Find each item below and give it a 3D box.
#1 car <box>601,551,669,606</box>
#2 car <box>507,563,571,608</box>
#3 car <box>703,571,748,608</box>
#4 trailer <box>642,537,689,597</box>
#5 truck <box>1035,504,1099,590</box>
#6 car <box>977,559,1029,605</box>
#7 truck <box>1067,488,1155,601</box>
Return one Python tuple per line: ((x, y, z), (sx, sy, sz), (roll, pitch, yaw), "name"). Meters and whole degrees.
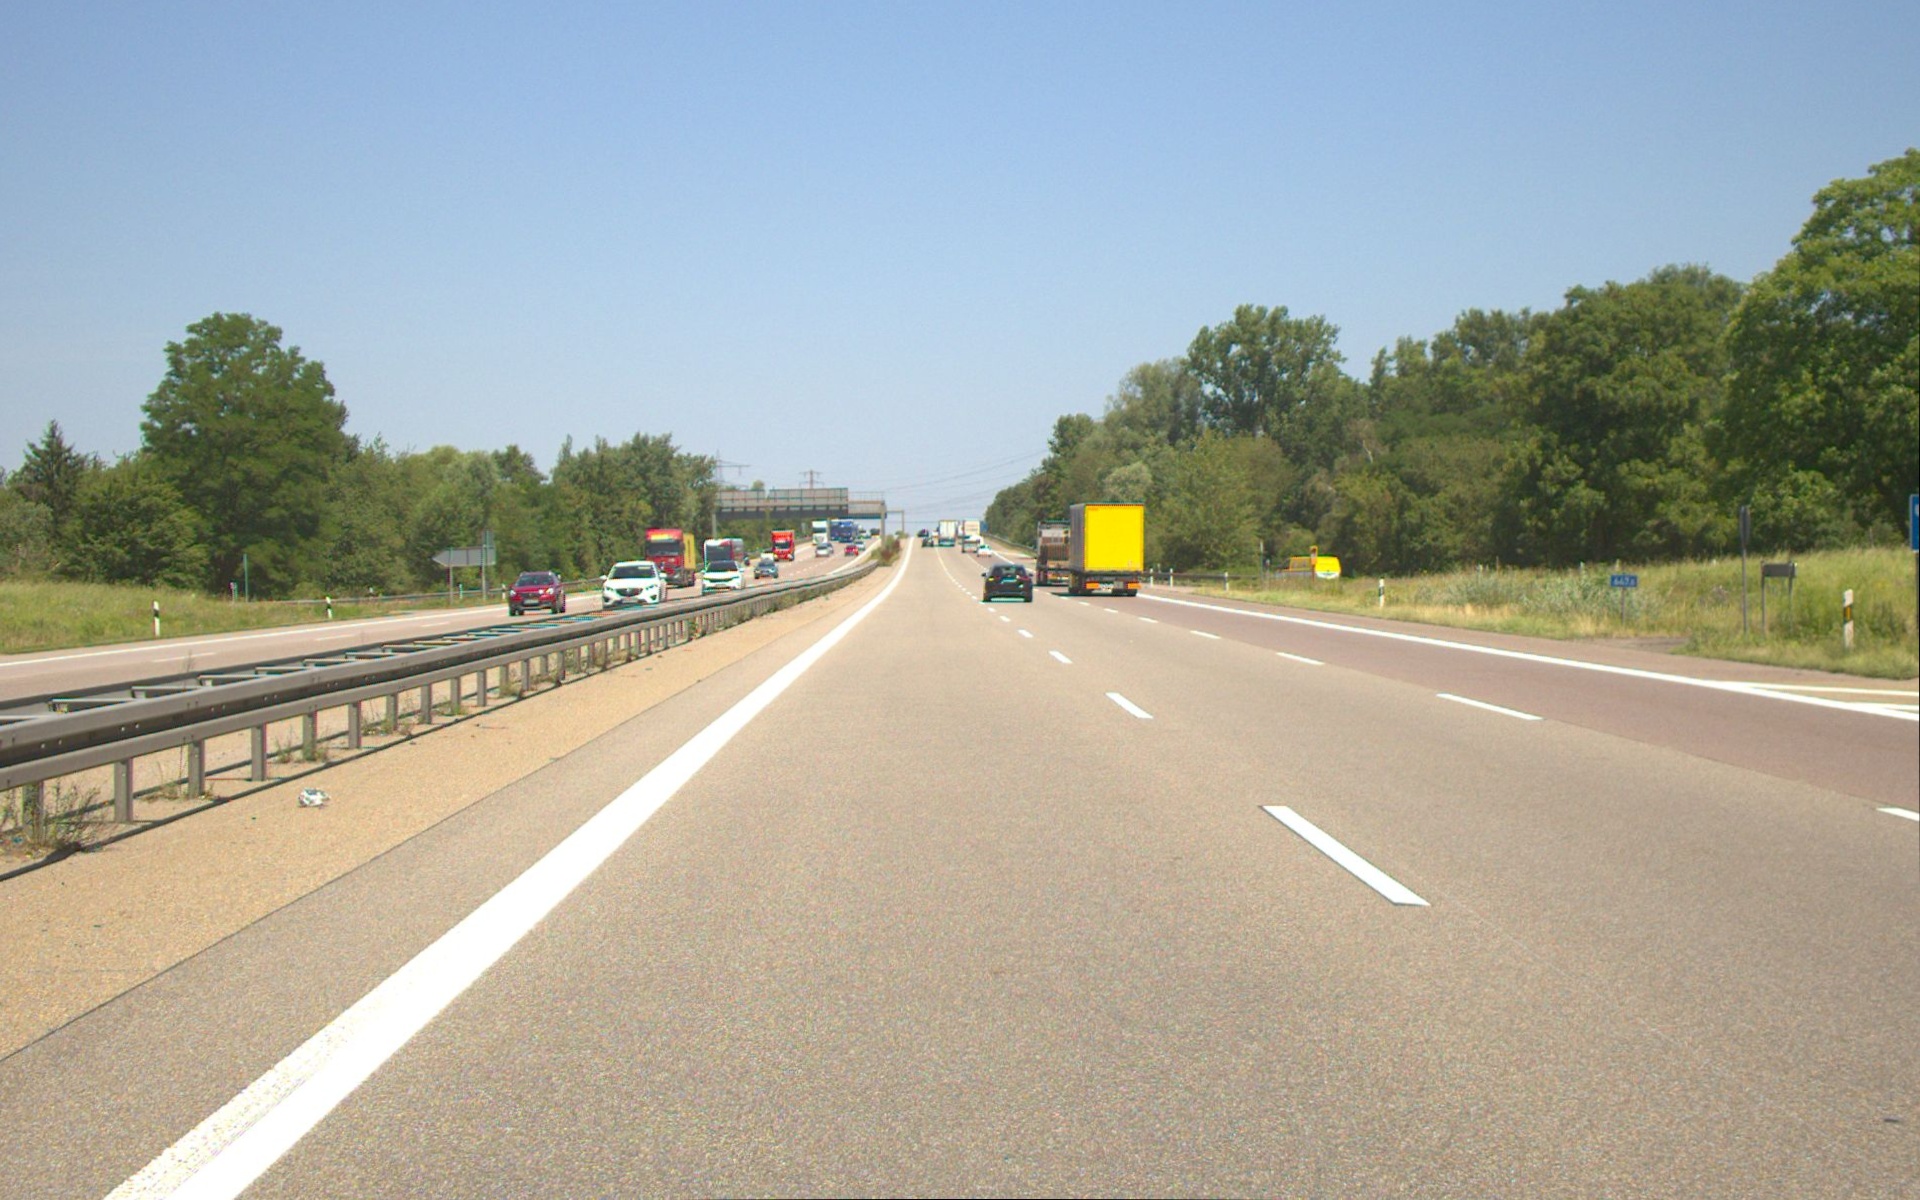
((-10.435, -0.713, 110.572), (1.762, 1.687, 4.819), (-1, 1, -1), "car")
((-14.941, -0.524, 122.155), (1.762, 1.490, 4.075), (-2, 1, 0), "car")
((-11.341, -0.510, 166.555), (1.810, 1.687, 5.125), (-1, 1, -1), "car")
((-19.777, -2.239, 231.128), (2.603, 3.978, 6.029), (1, 1, 0), "trailer")
((6.261, -3.134, 203.593), (3.367, 4.864, 15.086), (1, 1, 0), "truck")
((1.597, -0.691, 129.248), (1.827, 1.700, 4.000), (1, 1, -1), "car")
((6.776, -2.494, 156.616), (3.377, 4.864, 15.086), (1, 1, 0), "truck")
